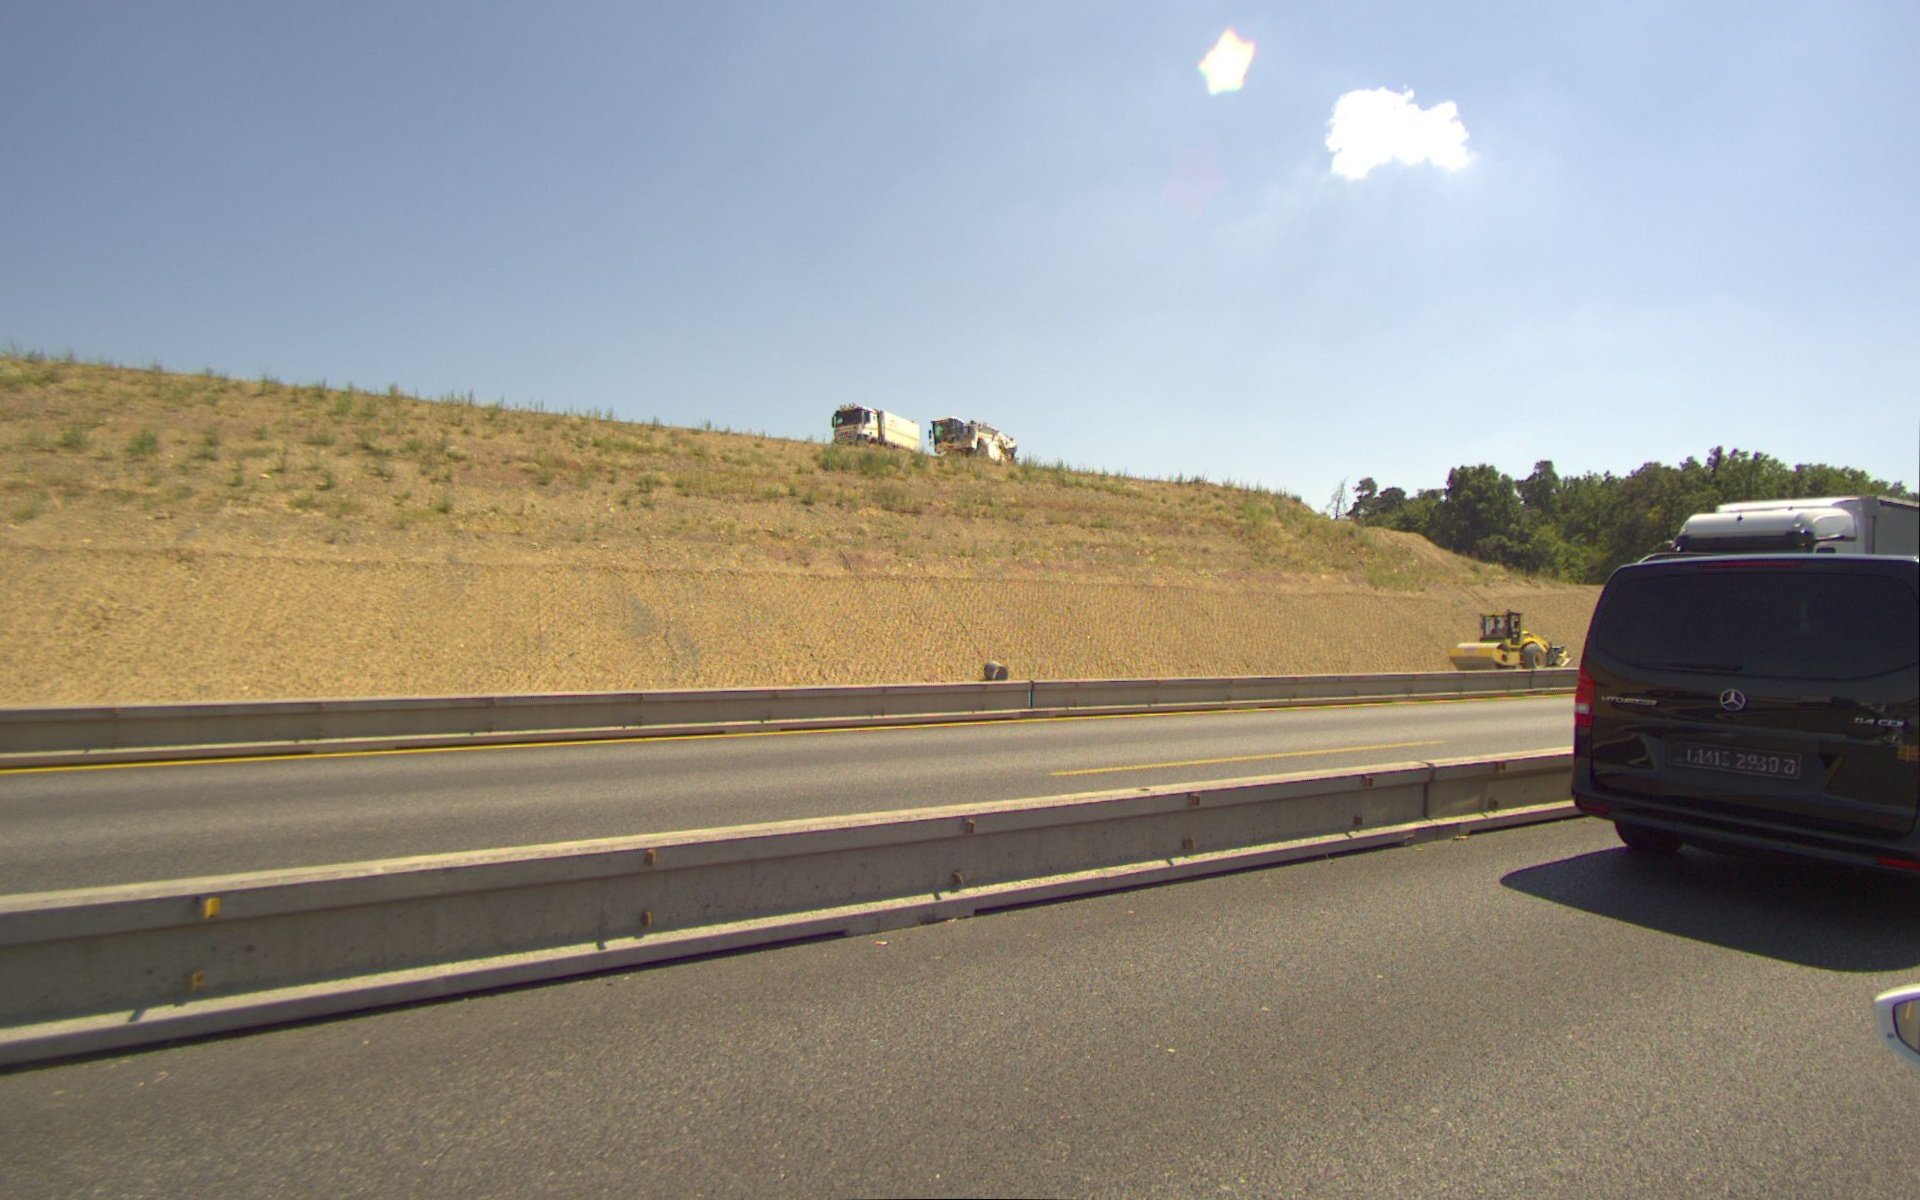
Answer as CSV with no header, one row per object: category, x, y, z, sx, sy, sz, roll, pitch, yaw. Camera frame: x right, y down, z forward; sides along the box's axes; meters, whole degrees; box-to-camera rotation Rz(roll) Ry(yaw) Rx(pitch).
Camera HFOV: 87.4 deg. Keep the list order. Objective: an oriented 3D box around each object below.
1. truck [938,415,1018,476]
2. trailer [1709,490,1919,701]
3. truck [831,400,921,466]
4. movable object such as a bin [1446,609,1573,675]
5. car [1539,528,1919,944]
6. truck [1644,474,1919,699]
truck,1.425,-10.890,71.706,2.258,2.785,8.901,2,0,24
trailer,22.986,0.038,24.324,13.552,4.130,2.776,1,0,-31
truck,-5.626,-11.311,68.932,2.317,2.937,8.362,2,0,24
movable object such as a bin,27.585,2.094,50.339,7.079,3.150,2.159,1,-2,-30
car,6.288,0.675,6.594,5.415,1.876,1.865,2,0,-31
truck,16.933,-0.168,20.706,4.885,4.097,2.756,2,0,-30
